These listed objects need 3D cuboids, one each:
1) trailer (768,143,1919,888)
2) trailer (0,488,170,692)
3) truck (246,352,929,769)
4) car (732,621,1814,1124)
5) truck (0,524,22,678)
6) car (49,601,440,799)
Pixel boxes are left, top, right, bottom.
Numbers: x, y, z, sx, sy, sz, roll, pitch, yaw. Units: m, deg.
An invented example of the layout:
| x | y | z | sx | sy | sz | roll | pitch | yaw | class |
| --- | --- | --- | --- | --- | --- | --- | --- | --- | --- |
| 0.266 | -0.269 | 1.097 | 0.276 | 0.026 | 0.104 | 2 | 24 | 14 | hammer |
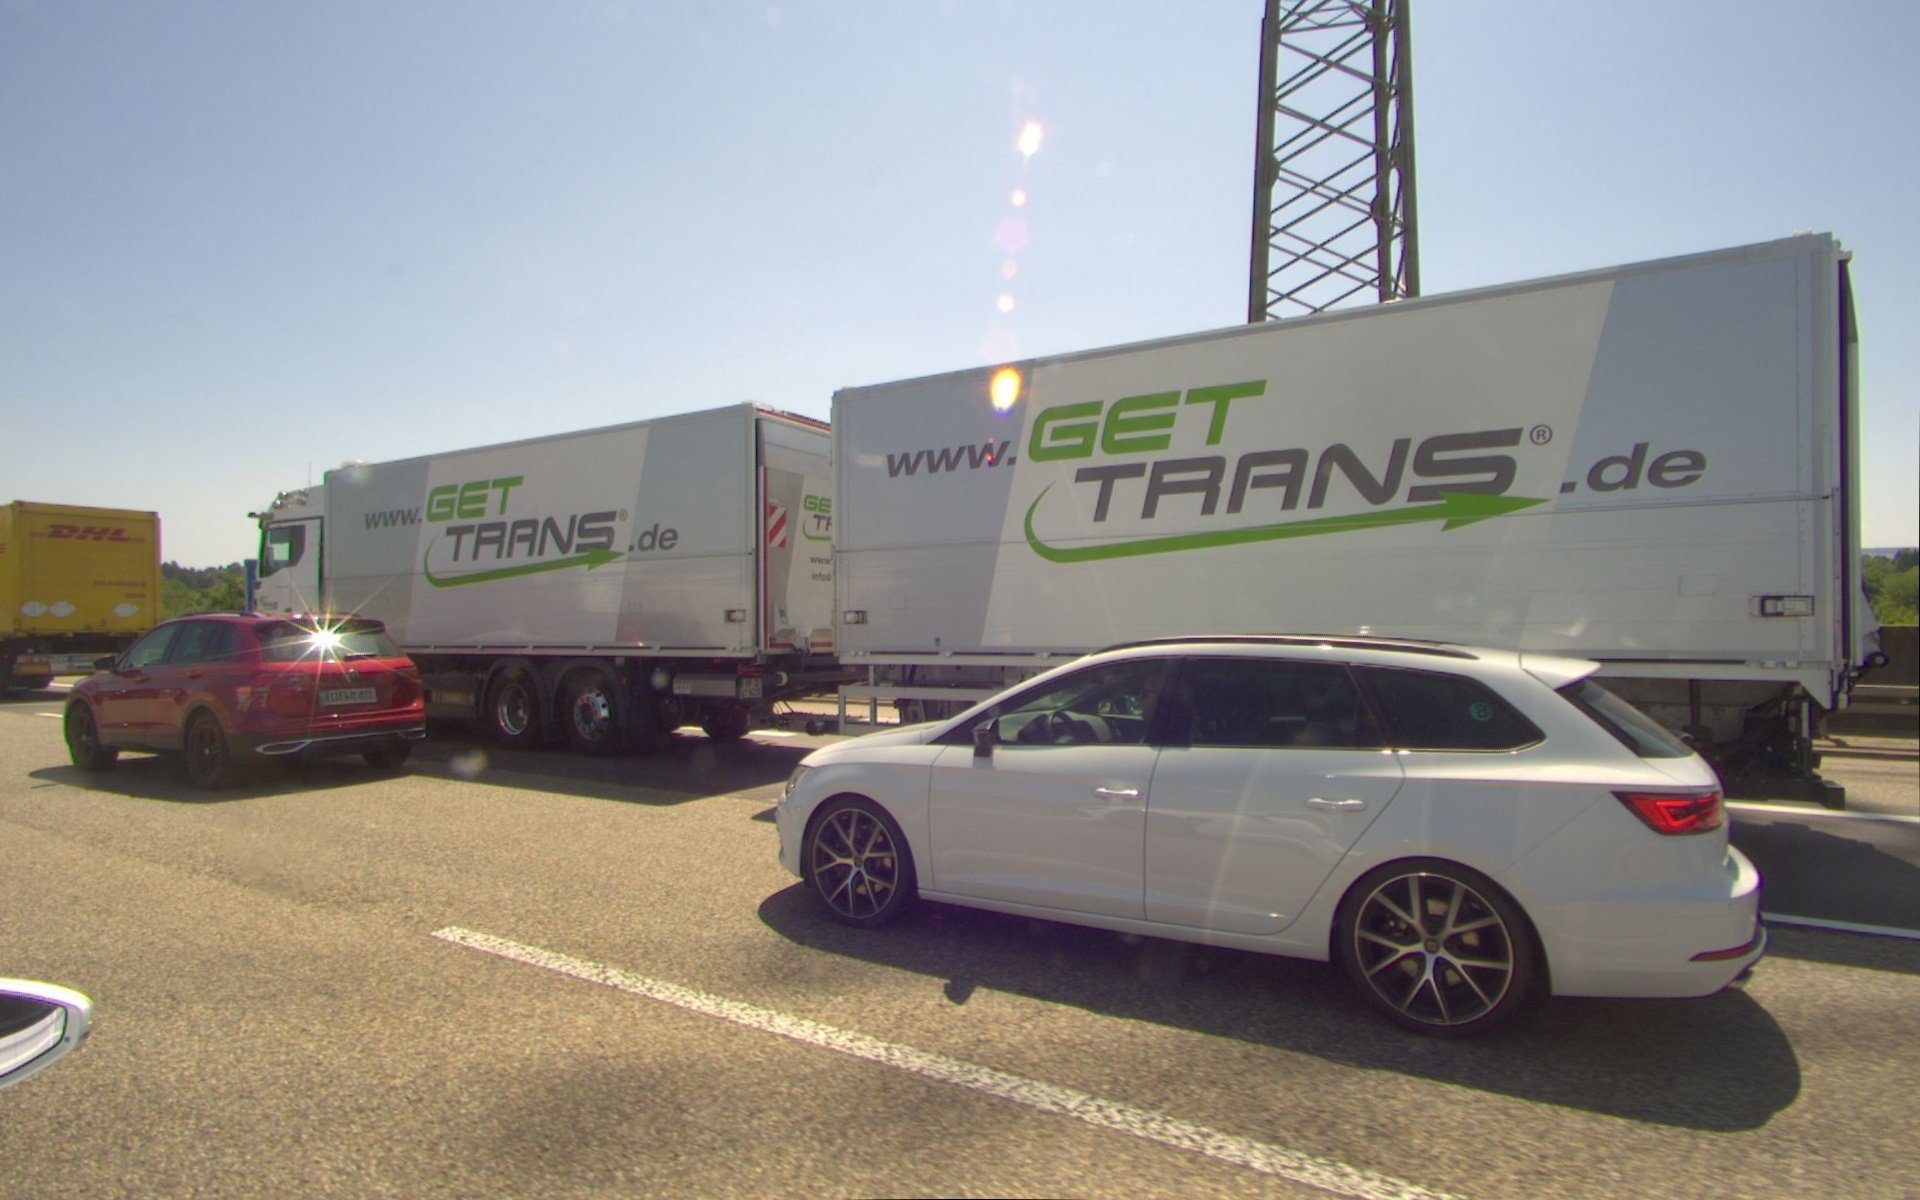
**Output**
| x | y | z | sx | sy | sz | roll | pitch | yaw | class |
| --- | --- | --- | --- | --- | --- | --- | --- | --- | --- |
| 2.358 | -0.322 | 8.657 | 8.096 | 3.941 | 2.894 | -1 | -2 | 32 | trailer |
| -22.396 | -0.069 | 23.793 | 8.848 | 4.139 | 2.679 | -1 | -2 | 31 | trailer |
| -5.545 | -0.223 | 13.536 | 10.457 | 3.984 | 2.848 | -1 | -2 | 32 | truck |
| 1.105 | 0.855 | 4.845 | 4.364 | 1.470 | 1.706 | 0 | -2 | 32 | car |
| -30.367 | 0.100 | 28.544 | 9.794 | 4.139 | 2.696 | -1 | -2 | 31 | truck |
| -7.507 | 0.915 | 10.425 | 4.221 | 1.701 | 1.706 | -1 | -1 | 30 | car |
